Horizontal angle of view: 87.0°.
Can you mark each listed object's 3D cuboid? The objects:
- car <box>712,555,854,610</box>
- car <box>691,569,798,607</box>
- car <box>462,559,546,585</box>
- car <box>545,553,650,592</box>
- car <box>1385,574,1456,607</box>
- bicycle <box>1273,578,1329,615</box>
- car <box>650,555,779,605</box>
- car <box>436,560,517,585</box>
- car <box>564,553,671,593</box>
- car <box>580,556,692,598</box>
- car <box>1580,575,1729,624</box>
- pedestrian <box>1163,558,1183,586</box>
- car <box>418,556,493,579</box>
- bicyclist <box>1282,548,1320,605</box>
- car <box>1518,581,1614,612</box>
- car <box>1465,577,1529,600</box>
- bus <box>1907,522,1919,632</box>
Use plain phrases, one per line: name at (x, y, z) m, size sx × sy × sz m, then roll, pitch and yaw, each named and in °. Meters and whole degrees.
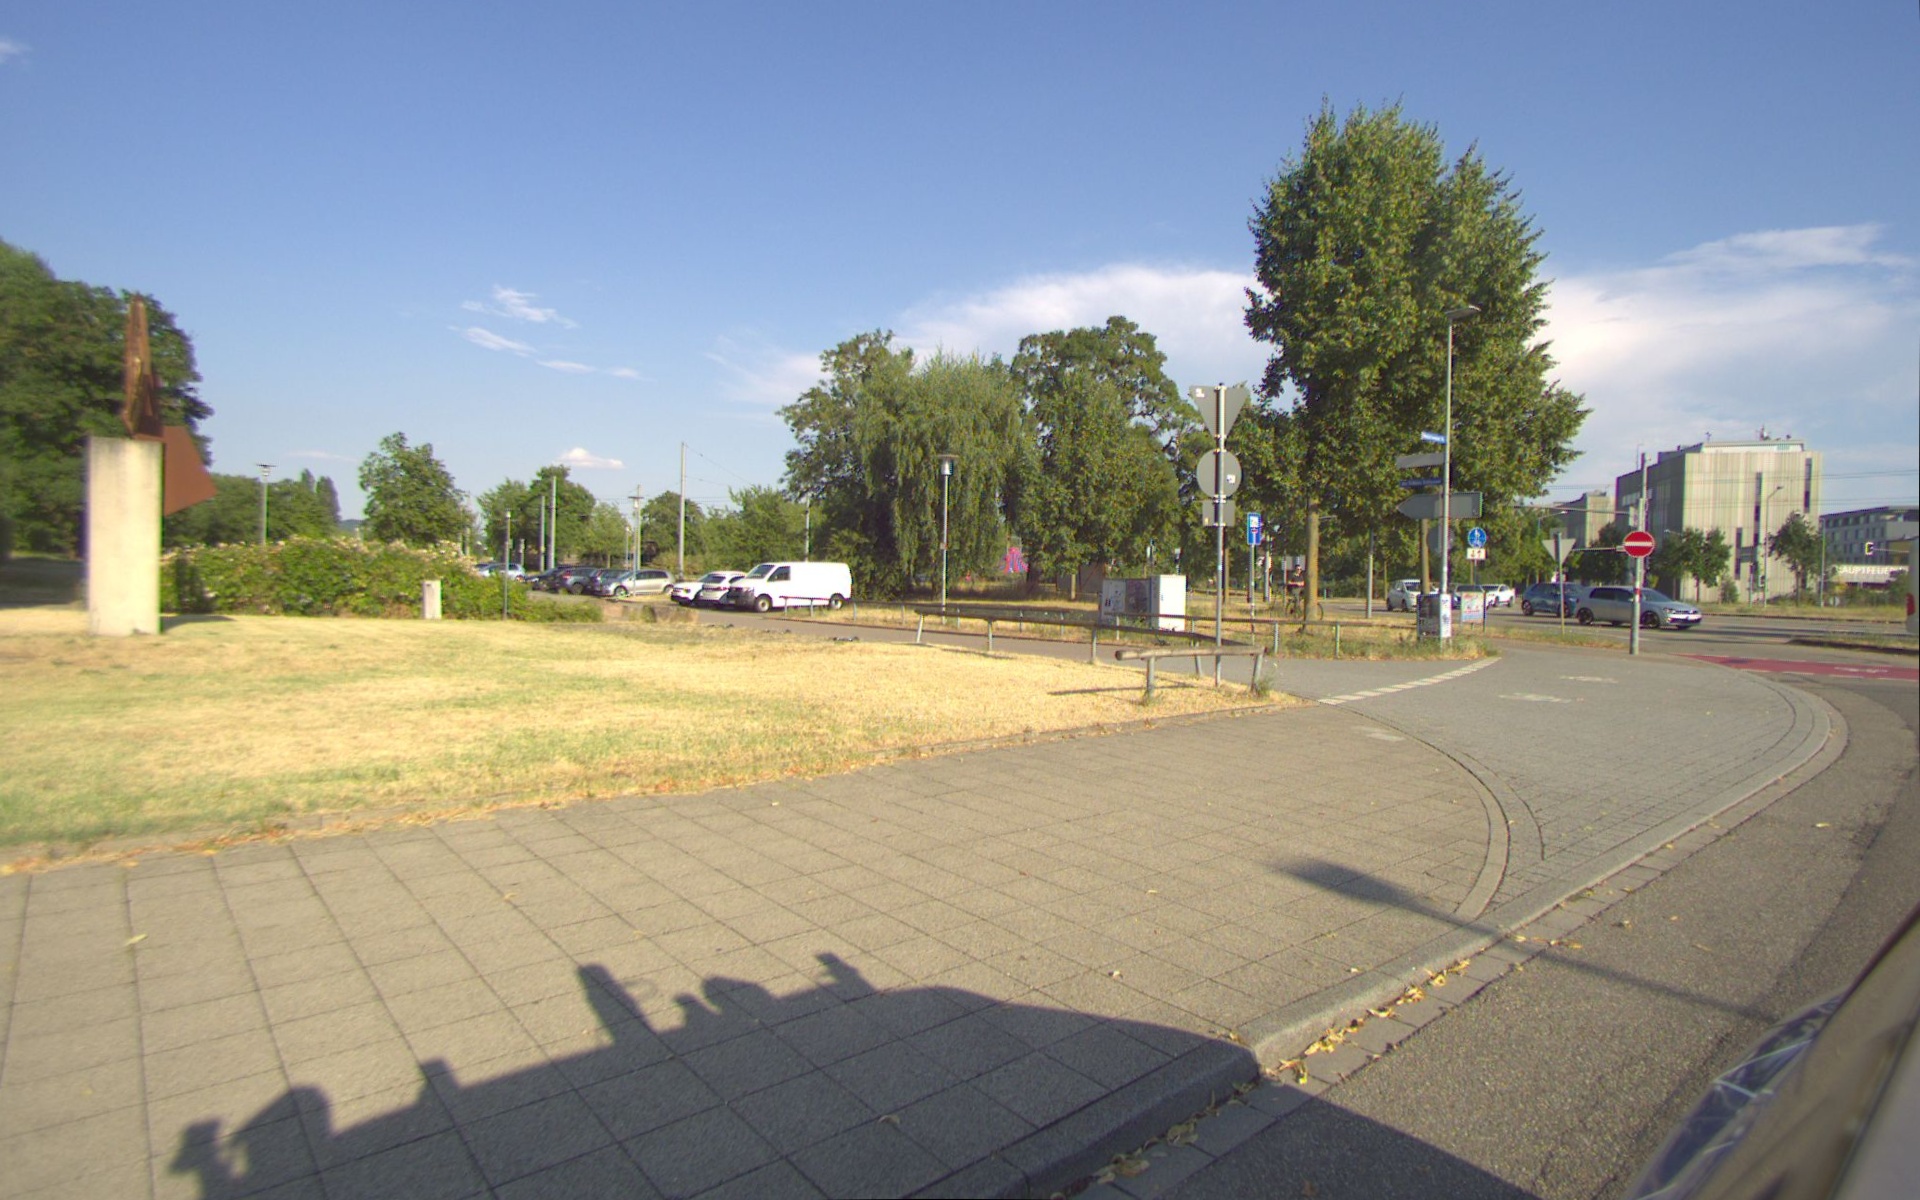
car at (-6.979, -0.736, 40.258) m, size 5.128 × 2.038 × 2.267 m, roll -1°, pitch 3°, yaw -41°
car at (-8.871, -0.502, 41.858) m, size 3.930 × 1.461 × 1.868 m, roll 0°, pitch 2°, yaw -41°
car at (-31.905, -1.985, 70.916) m, size 4.970 × 1.724 × 2.267 m, roll -1°, pitch 2°, yaw -41°
car at (-20.005, -1.502, 55.945) m, size 4.970 × 2.038 × 2.267 m, roll -1°, pitch 2°, yaw -41°
car at (22.925, -0.507, 50.584) m, size 1.878 × 1.570 × 4.044 m, roll 2°, pitch 1°, yaw 4°
bicycle at (11.023, -0.142, 32.826) m, size 0.627 × 1.137 × 2.130 m, roll 1°, pitch 2°, yaw -15°
car at (-10.666, -0.886, 44.194) m, size 4.970 × 2.038 × 2.267 m, roll -1°, pitch 2°, yaw -41°
car at (-35.415, -2.021, 74.222) m, size 4.970 × 1.724 × 2.267 m, roll -1°, pitch 2°, yaw -41°
car at (-18.200, -1.418, 53.895) m, size 4.970 × 2.038 × 2.267 m, roll -1°, pitch 2°, yaw -41°
car at (-16.481, -1.166, 51.627) m, size 4.970 × 2.038 × 2.267 m, roll -1°, pitch 2°, yaw -41°
car at (24.702, -0.066, 36.176) m, size 1.958 × 1.542 × 4.010 m, roll 1°, pitch 2°, yaw -15°
pedestrian at (11.256, -1.469, 53.510) m, size 0.752 × 1.408 × 0.654 m, roll 2°, pitch 2°, yaw -31°
car at (-40.027, -2.586, 80.382) m, size 4.970 × 1.724 × 2.267 m, roll -1°, pitch 2°, yaw -41°
bicyclist at (11.038, -0.764, 32.786) m, size 0.713 × 1.823 × 0.940 m, roll 1°, pitch 1°, yaw -15°
car at (26.811, -0.192, 44.896) m, size 1.612 × 1.193 × 4.004 m, roll 2°, pitch 2°, yaw -4°
car at (35.664, -0.763, 67.164) m, size 4.507 × 1.401 × 2.093 m, roll 0°, pitch 2°, yaw -39°
bus at (31.486, -0.438, 24.525) m, size 2.618 × 3.099 × 12.172 m, roll 0°, pitch 2°, yaw -38°
